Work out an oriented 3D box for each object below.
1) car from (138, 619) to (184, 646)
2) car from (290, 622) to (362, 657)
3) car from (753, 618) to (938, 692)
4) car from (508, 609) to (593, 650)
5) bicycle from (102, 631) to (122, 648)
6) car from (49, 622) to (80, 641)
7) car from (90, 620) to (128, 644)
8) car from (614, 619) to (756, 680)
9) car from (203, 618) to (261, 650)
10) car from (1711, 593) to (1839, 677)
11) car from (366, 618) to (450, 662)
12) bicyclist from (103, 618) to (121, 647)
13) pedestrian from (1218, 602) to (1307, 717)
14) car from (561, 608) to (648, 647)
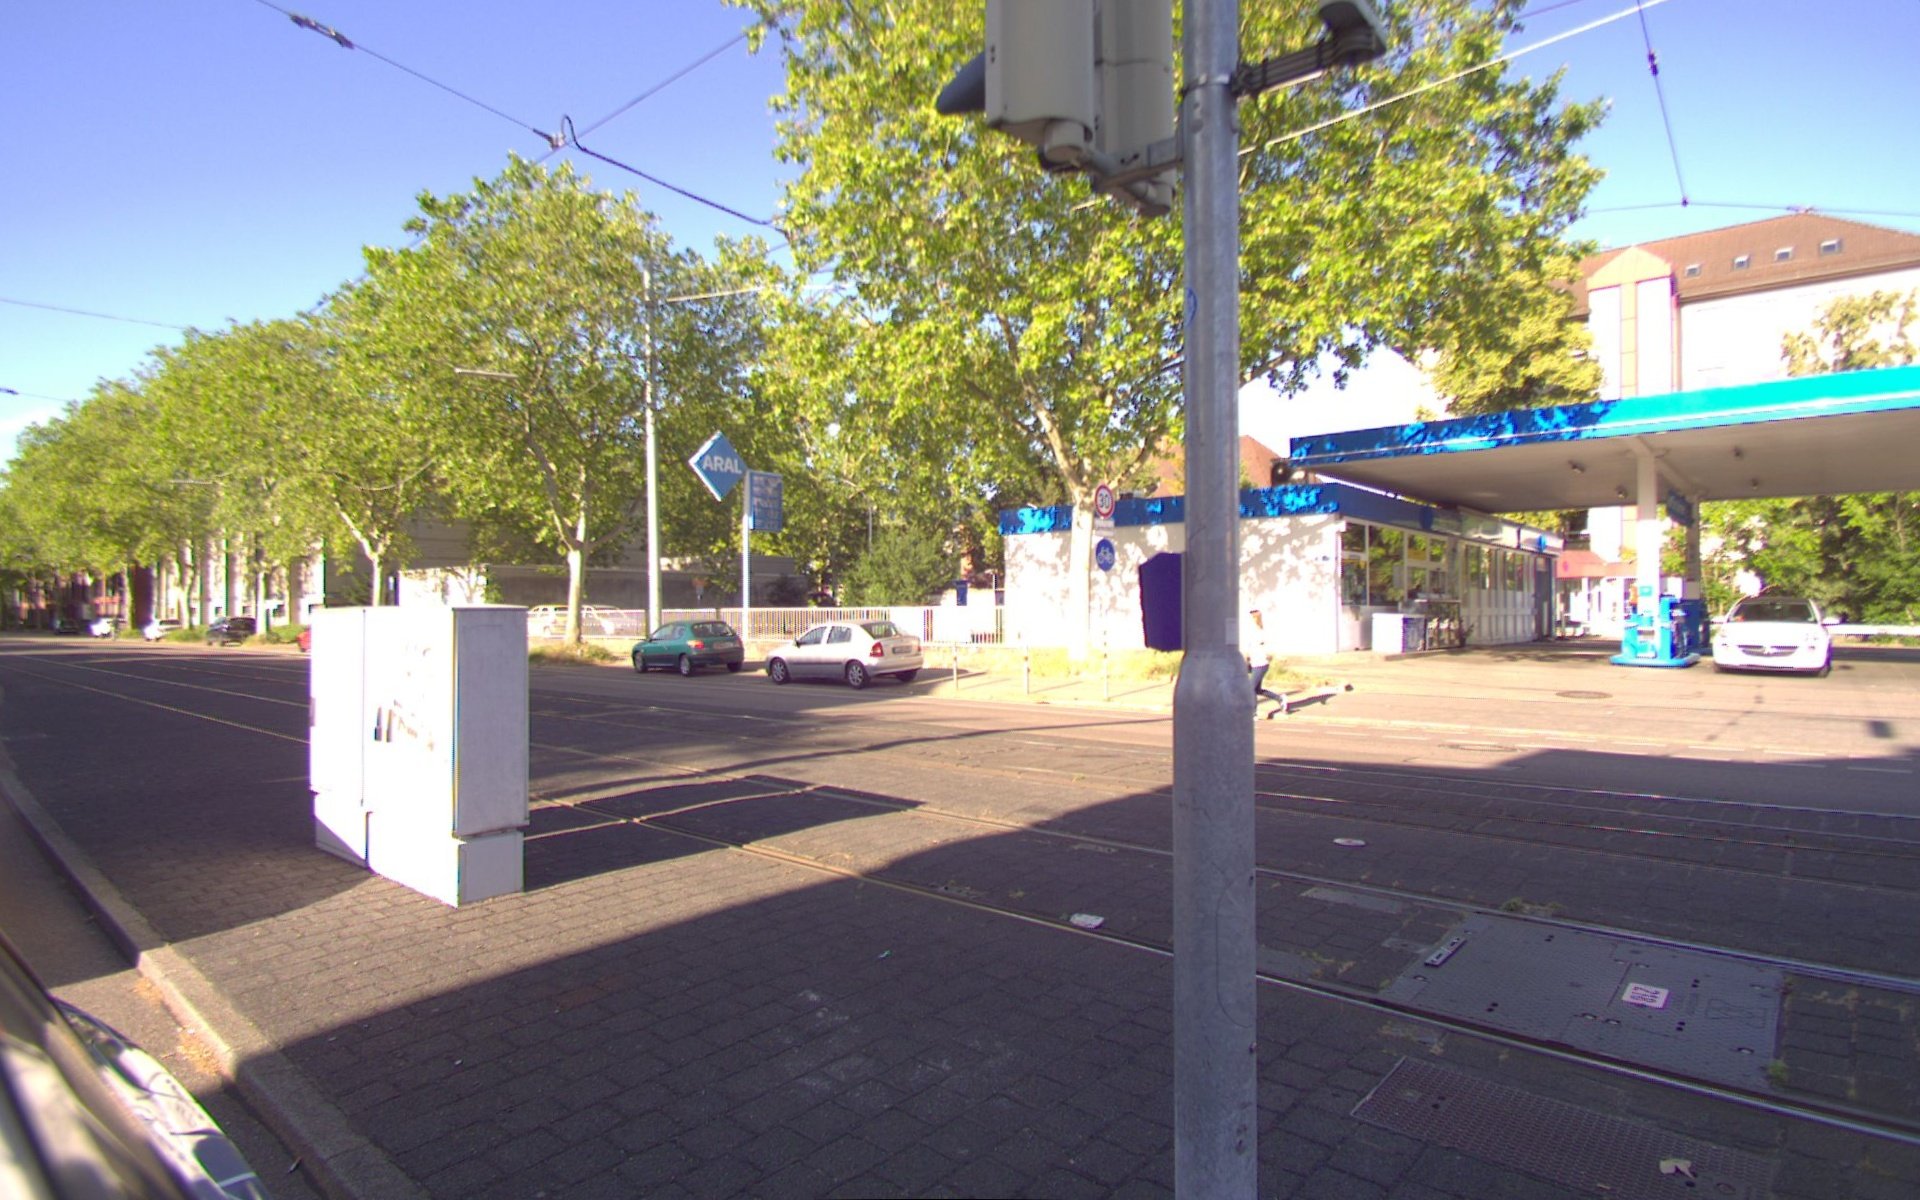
[{"bbox_3d":[-53.837,2.159,68.197,4.098,1.686,1.821,-1,1,44],"label":"car"},{"bbox_3d":[-28.961,1.772,46.172,4.001,1.418,1.821,-1,1,44],"label":"car"},{"bbox_3d":[-2.618,1.175,22.638,3.997,1.418,1.823,-1,1,40],"label":"car"},{"bbox_3d":[-17.130,1.193,42.272,4.002,1.545,1.820,-1,1,45],"label":"car"},{"bbox_3d":[-56.451,2.626,67.329,2.532,1.129,0.645,-1,-1,41],"label":"bicycle"},{"bbox_3d":[-85.038,2.946,96.091,4.098,1.686,1.821,-1,1,44],"label":"car"},{"bbox_3d":[-66.941,2.487,79.568,4.098,1.686,1.821,-1,1,44],"label":"car"},{"bbox_3d":[-7.425,1.273,27.128,4.138,1.418,1.820,-1,1,45],"label":"car"},{"bbox_3d":[-40.653,1.884,56.473,4.098,1.628,1.821,-1,1,44],"label":"car"},{"bbox_3d":[16.019,0.642,19.852,1.780,1.475,3.946,-1,-1,40],"label":"car"},{"bbox_3d":[-21.961,1.539,40.179,4.002,1.545,1.820,-1,1,45],"label":"car"},{"bbox_3d":[-56.438,2.149,67.360,1.070,1.878,0.711,-1,-2,41],"label":"bicyclist"},{"bbox_3d":[4.425,0.861,14.883,1.092,1.631,0.715,0,-1,4],"label":"pedestrian"},{"bbox_3d":[-15.389,1.170,43.765,3.999,1.545,1.822,-1,1,42],"label":"car"}]
